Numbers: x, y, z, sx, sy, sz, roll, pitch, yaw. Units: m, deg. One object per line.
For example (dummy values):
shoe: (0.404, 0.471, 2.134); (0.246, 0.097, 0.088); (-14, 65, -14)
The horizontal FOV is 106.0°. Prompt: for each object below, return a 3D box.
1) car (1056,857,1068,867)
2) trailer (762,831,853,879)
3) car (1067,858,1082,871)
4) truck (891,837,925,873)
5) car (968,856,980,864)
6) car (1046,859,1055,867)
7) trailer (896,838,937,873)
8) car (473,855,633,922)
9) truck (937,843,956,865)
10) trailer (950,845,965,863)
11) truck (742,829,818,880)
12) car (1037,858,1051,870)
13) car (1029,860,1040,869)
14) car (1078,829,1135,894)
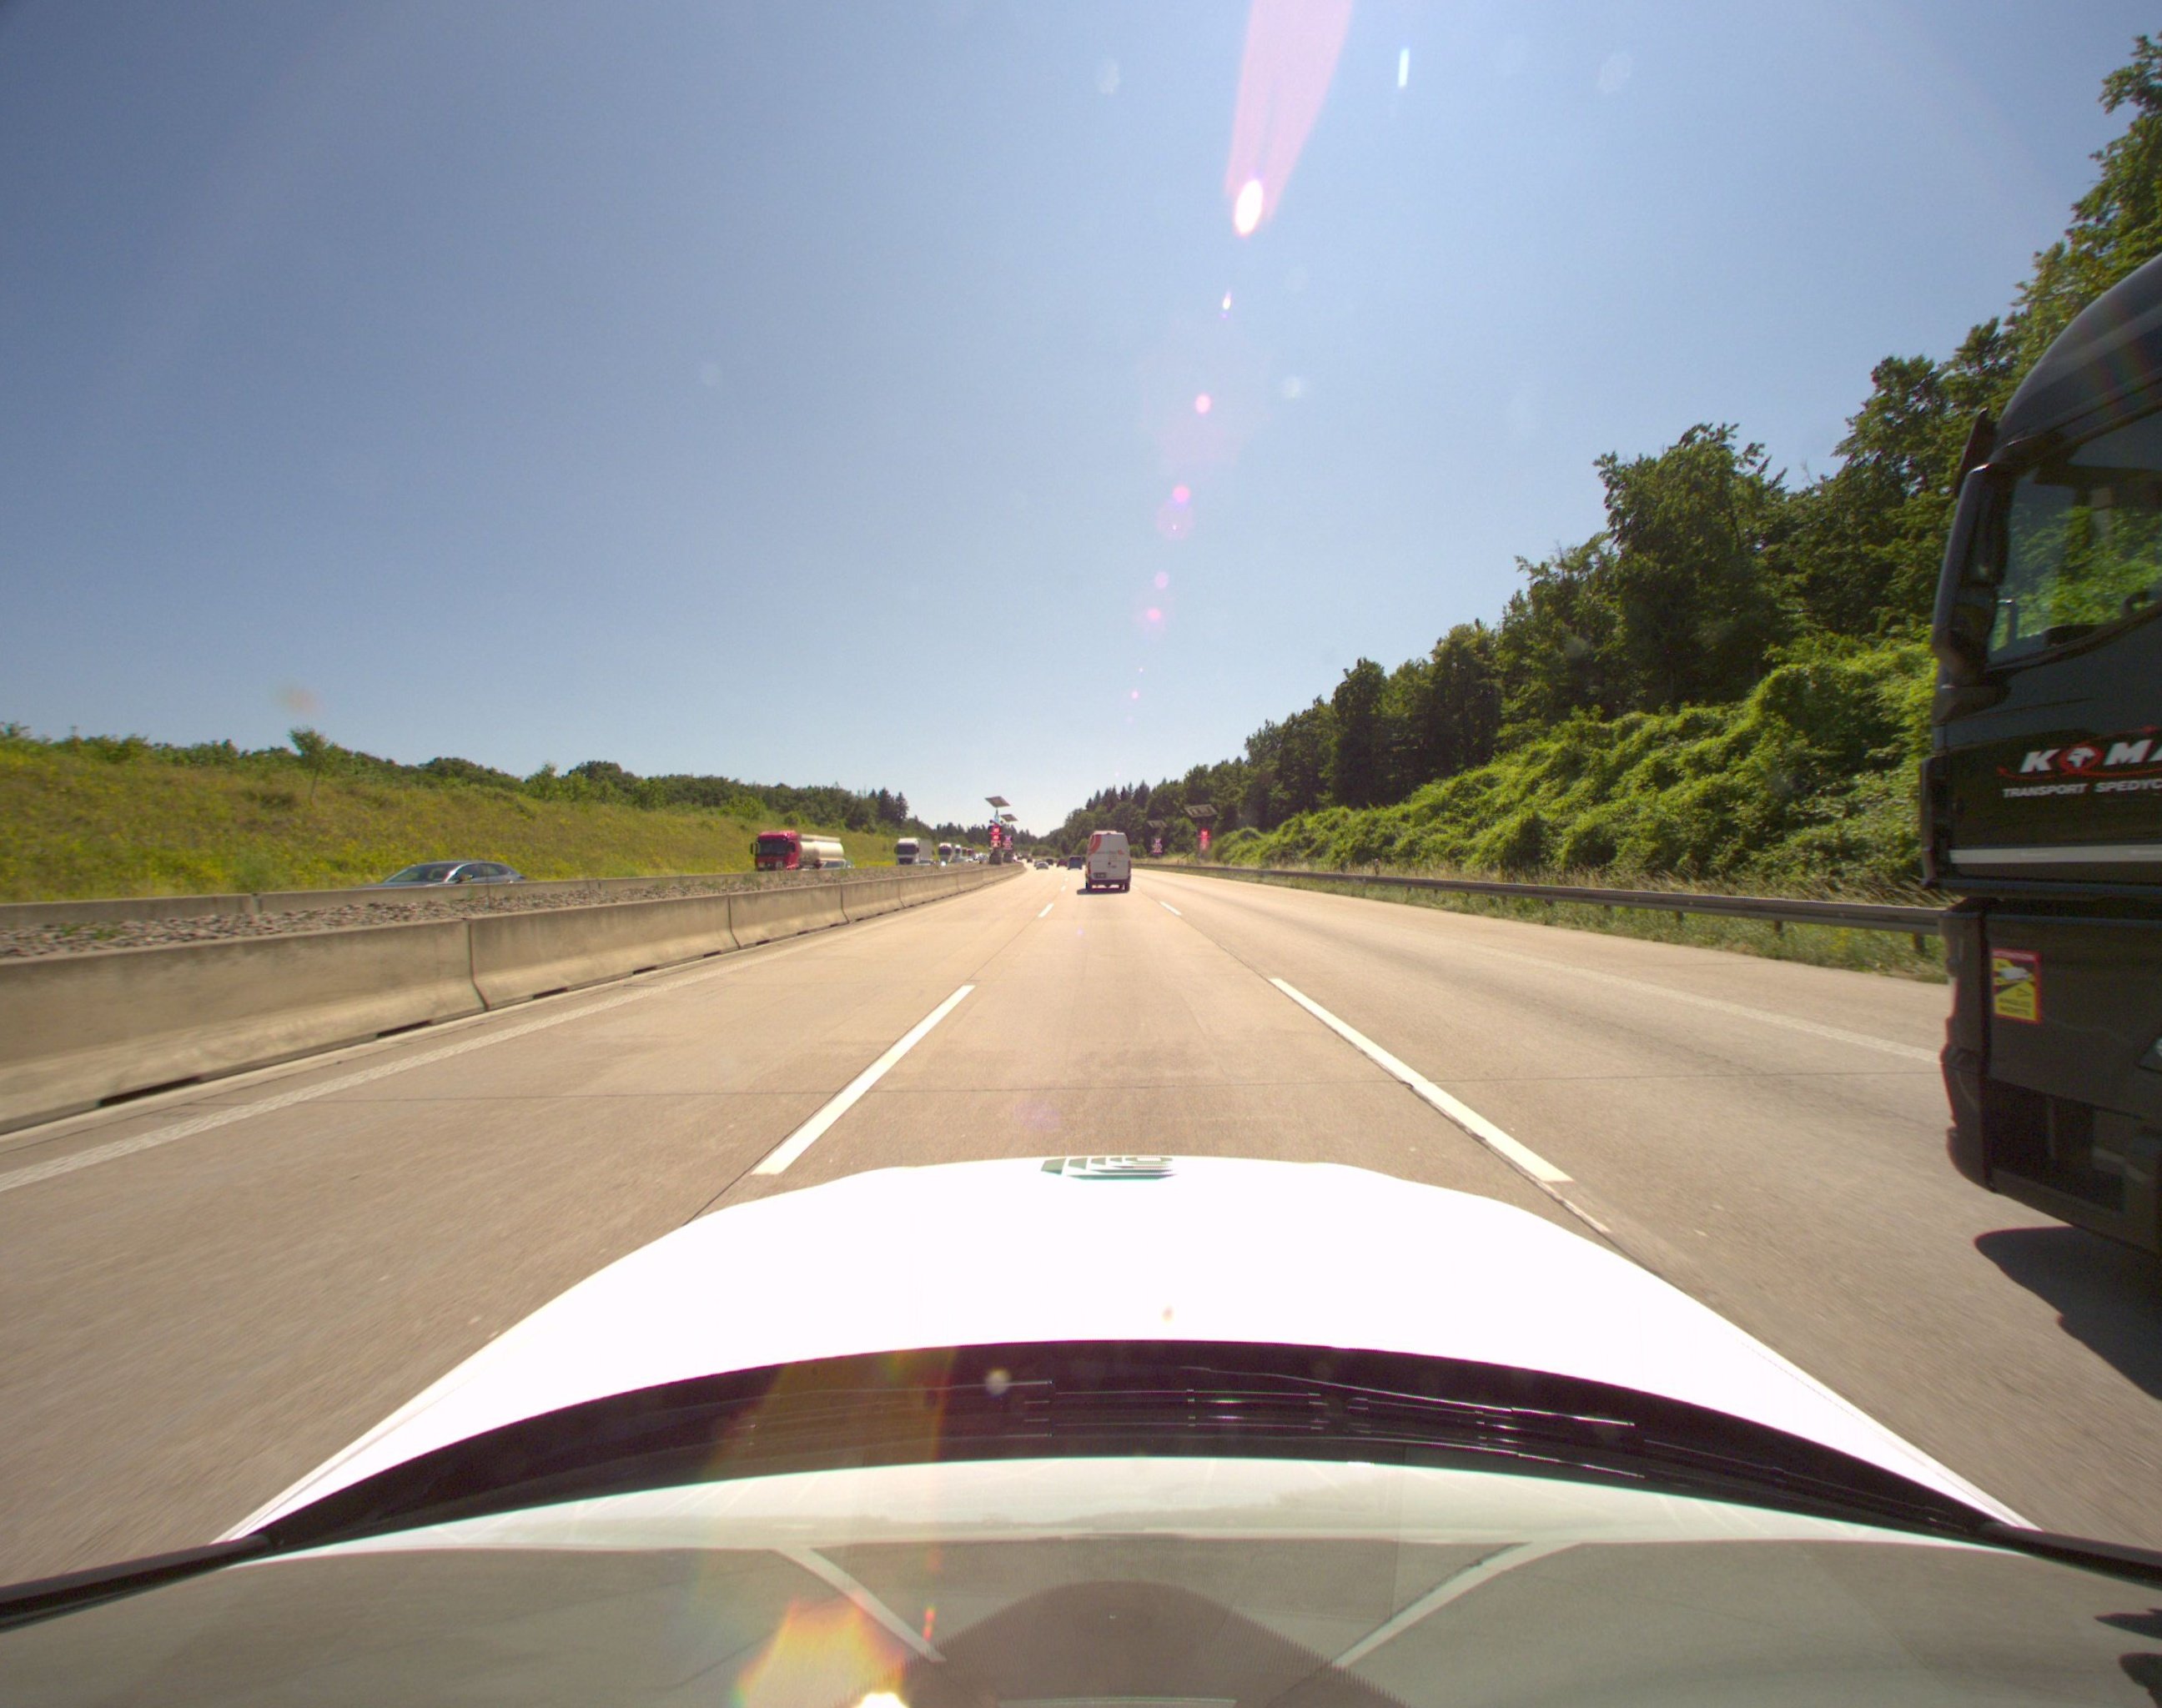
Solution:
car: (-3.398, 1.428, 146.645); (1.989, 1.684, 3.996); (1, -1, -3)
trailer: (-20.348, 0.148, 61.651); (2.925, 3.215, 11.826); (1, -1, -1)
car: (-0.914, 1.409, 112.241); (1.989, 1.684, 3.996); (1, -1, -3)
truck: (-20.937, 0.129, 98.840); (2.926, 4.169, 5.755); (1, -1, -2)
car: (-22.375, 1.272, 170.597); (1.988, 1.684, 3.996); (-1, 0, -2)
car: (-6.933, 1.951, 183.063); (1.989, 1.684, 3.996); (1, -1, -3)
trailer: (-21.223, 0.212, 105.898); (2.926, 4.169, 14.374); (1, -1, -2)
car: (-15.093, 0.929, 23.588); (1.987, 1.717, 3.999); (-1, 0, 0)
truck: (-25.850, 0.055, 156.450); (2.927, 4.169, 6.220); (2, -1, -4)
trailer: (-29.775, -0.073, 196.193); (2.929, 4.169, 6.877); (2, -1, -5)
truck: (-20.254, 0.071, 55.190); (2.925, 3.215, 5.902); (1, -1, -1)
car: (-5.532, 1.506, 121.267); (1.989, 1.684, 3.996); (1, -1, -3)
car: (-9.129, 2.101, 159.175); (1.989, 1.684, 3.996); (1, -1, -3)
car: (1.092, 0.325, 38.329); (2.221, 2.844, 5.448); (0, 0, -3)
